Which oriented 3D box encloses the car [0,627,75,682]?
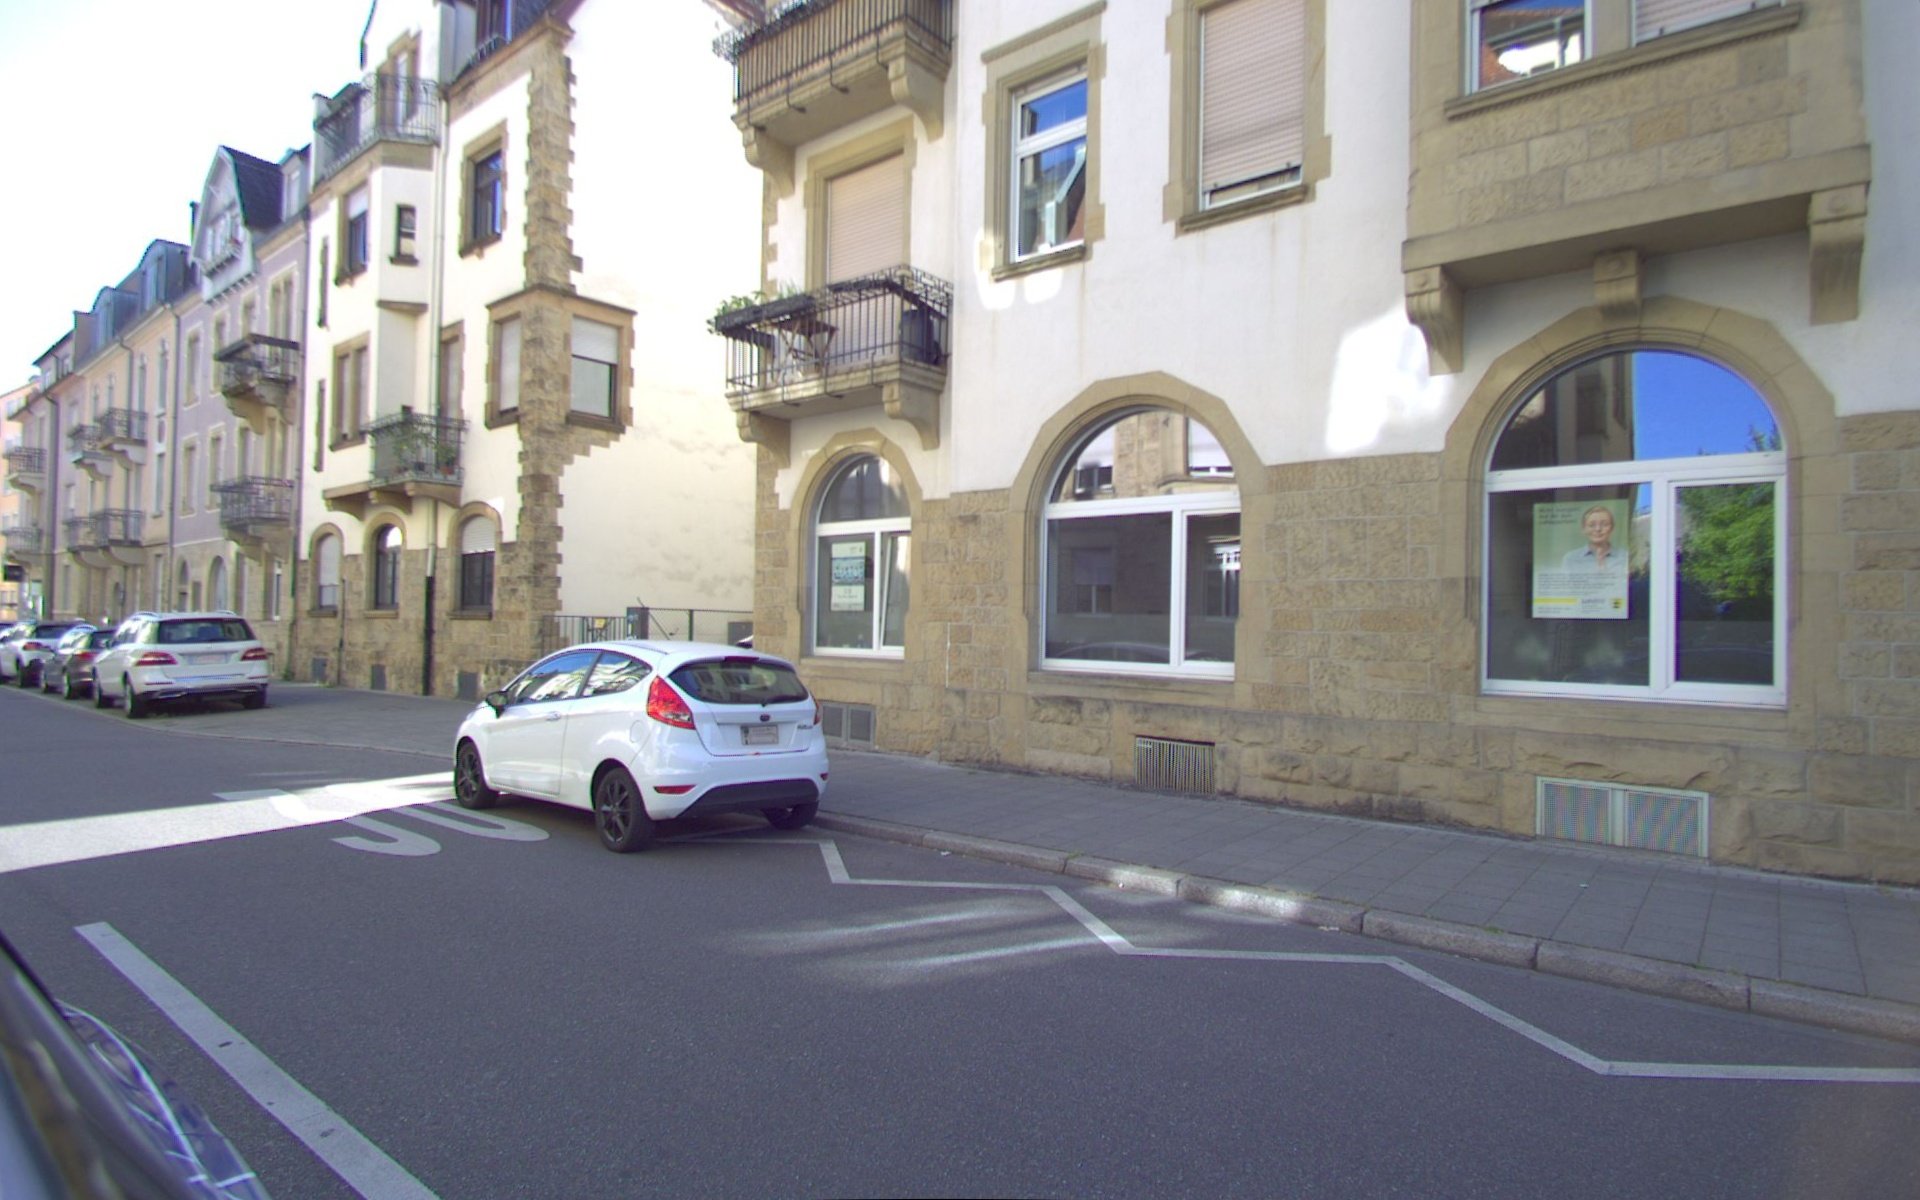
[{"bbox_3d":[-26.867,1.508,28.862,3.658,1.404,1.658,-1,1,36],"label":"car"}]

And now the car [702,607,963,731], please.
[{"bbox_3d":[-1.934,1.055,16.324,1.908,1.741,3.928,-2,-3,40],"label":"car"}]

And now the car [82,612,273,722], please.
[{"bbox_3d":[-14.150,1.113,18.190,4.724,1.735,1.872,-1,-2,42],"label":"car"}]

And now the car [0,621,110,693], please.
[{"bbox_3d":[-22.857,1.363,25.274,4.015,1.595,1.698,-1,1,38],"label":"car"}]

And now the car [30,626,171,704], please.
[{"bbox_3d":[-18.590,1.320,21.821,4.275,1.498,1.558,-1,-1,39],"label":"car"}]

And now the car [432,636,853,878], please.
[{"bbox_3d":[-2.717,1.052,8.235,3.734,1.475,1.616,-1,-2,43],"label":"car"}]

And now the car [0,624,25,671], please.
[{"bbox_3d":[-33.058,1.586,34.125,3.719,1.550,1.698,-1,-2,38],"label":"car"}]
